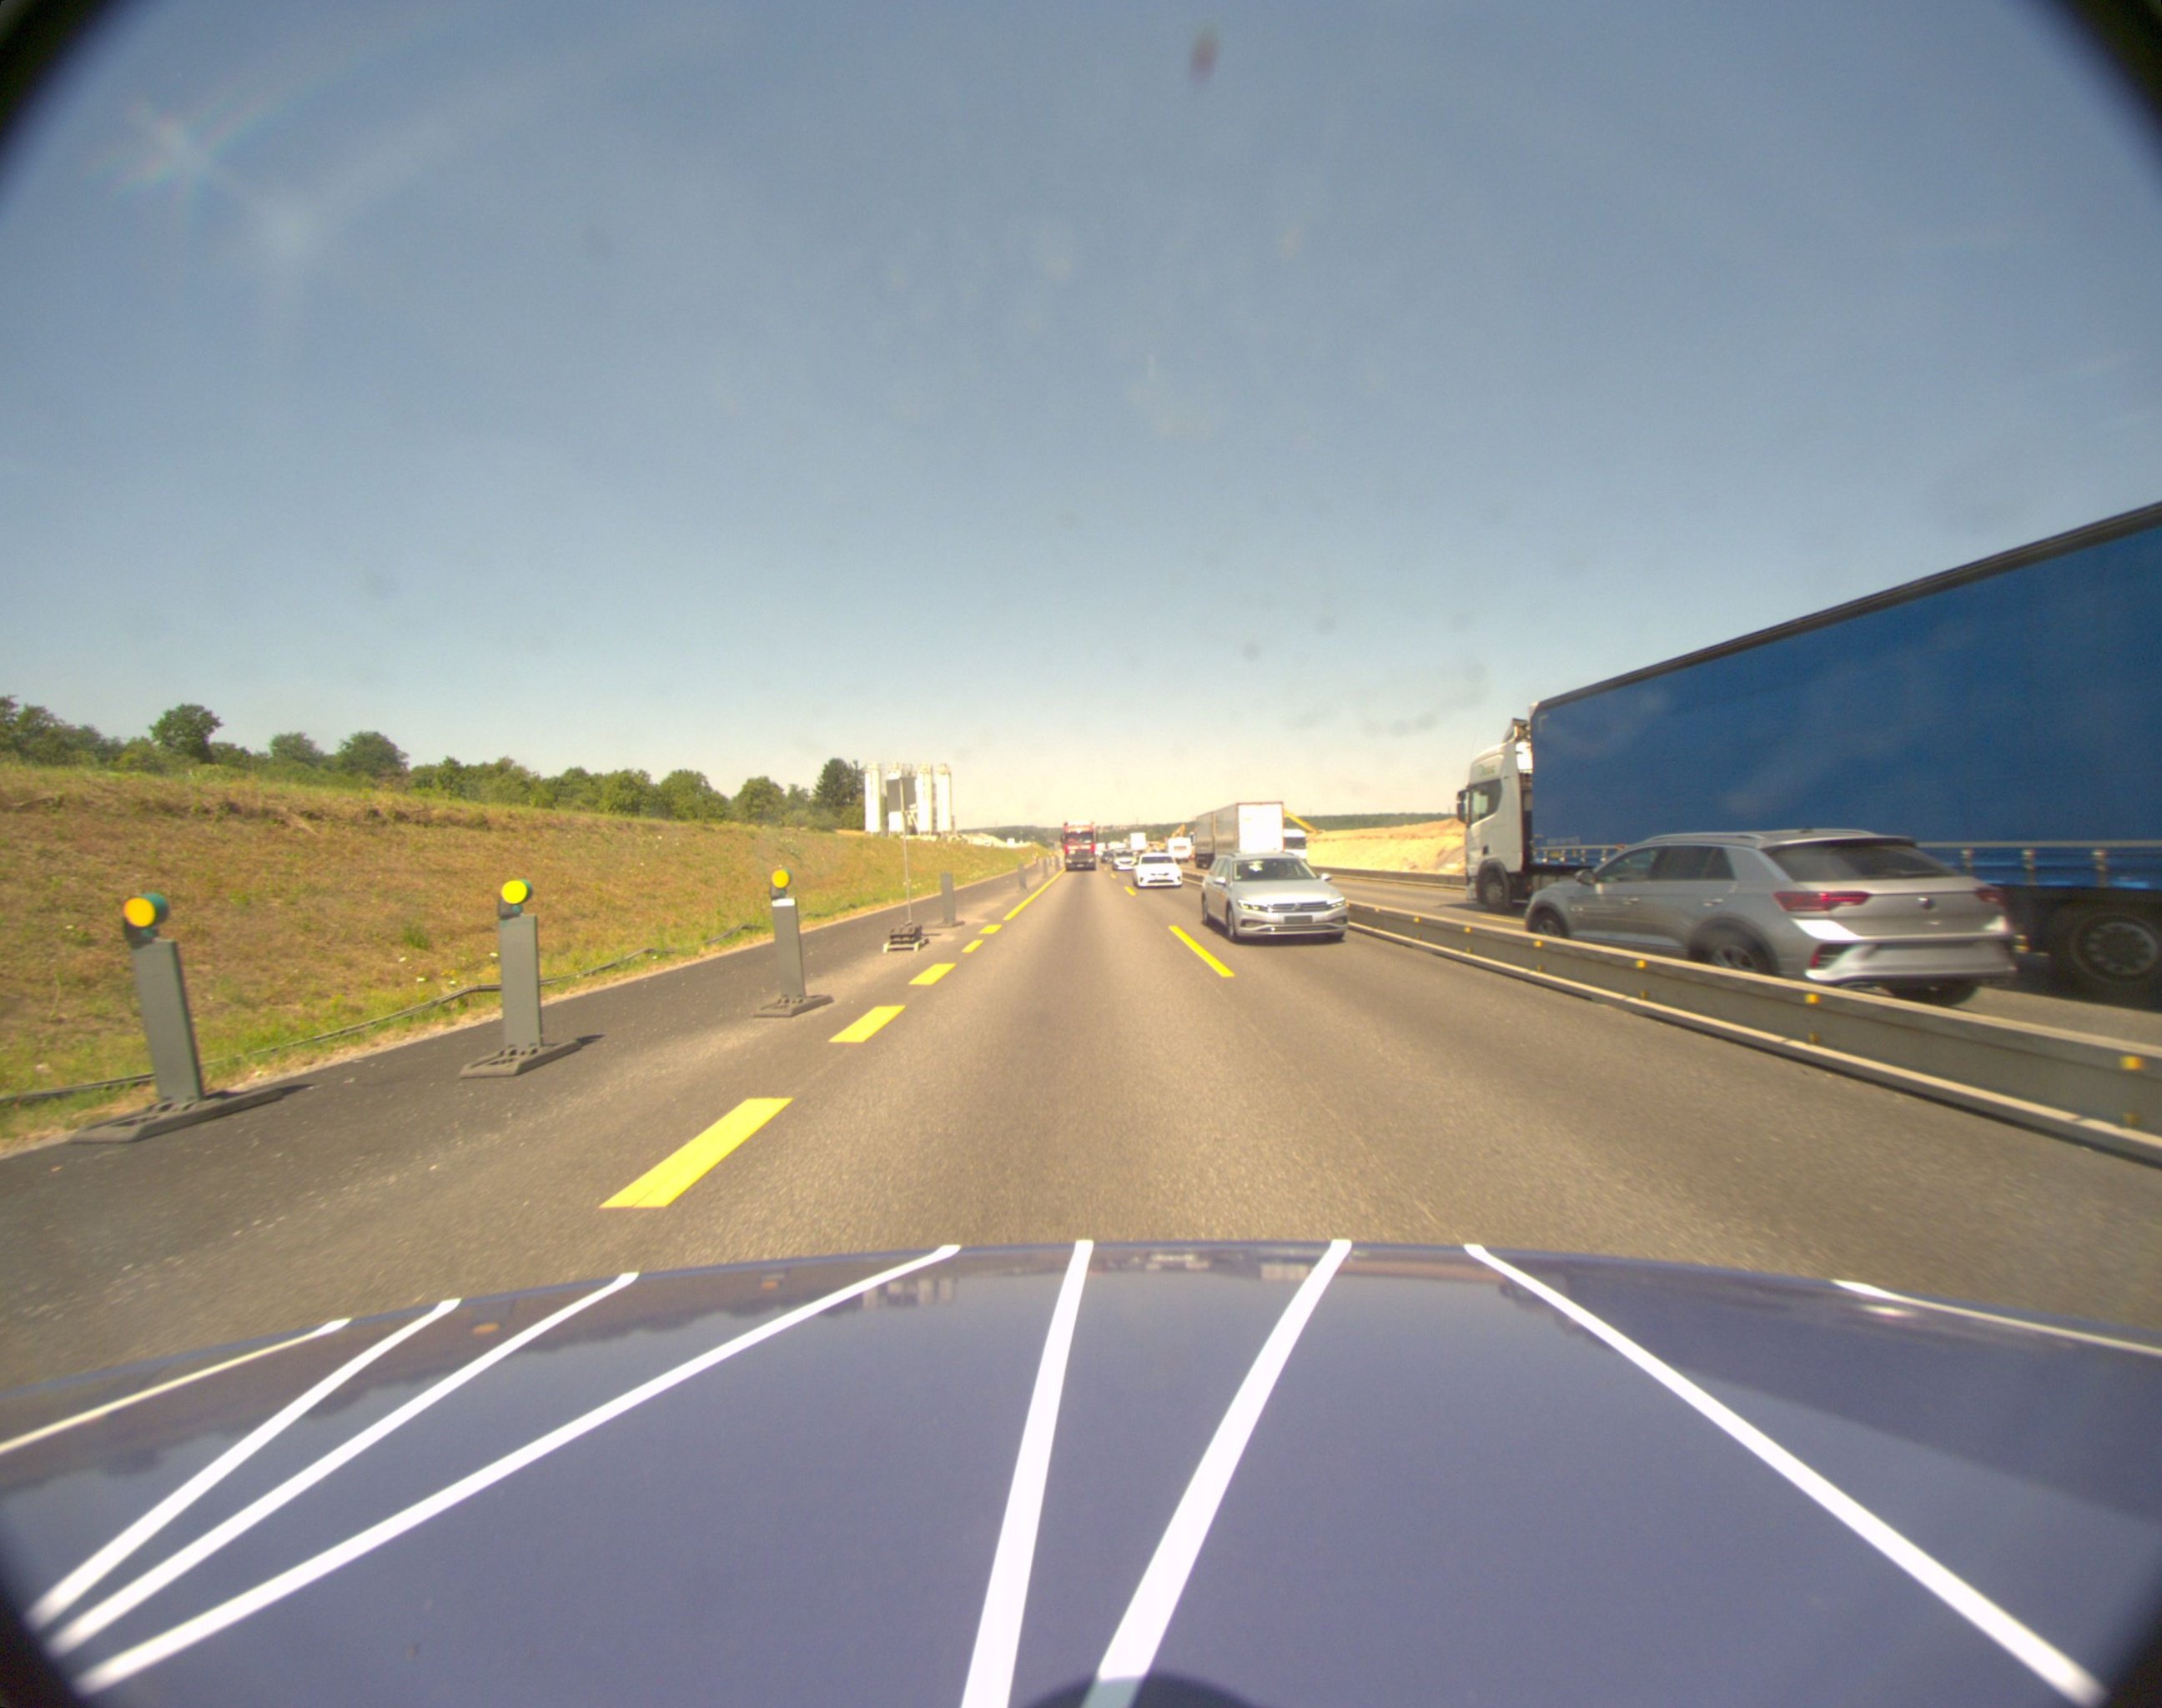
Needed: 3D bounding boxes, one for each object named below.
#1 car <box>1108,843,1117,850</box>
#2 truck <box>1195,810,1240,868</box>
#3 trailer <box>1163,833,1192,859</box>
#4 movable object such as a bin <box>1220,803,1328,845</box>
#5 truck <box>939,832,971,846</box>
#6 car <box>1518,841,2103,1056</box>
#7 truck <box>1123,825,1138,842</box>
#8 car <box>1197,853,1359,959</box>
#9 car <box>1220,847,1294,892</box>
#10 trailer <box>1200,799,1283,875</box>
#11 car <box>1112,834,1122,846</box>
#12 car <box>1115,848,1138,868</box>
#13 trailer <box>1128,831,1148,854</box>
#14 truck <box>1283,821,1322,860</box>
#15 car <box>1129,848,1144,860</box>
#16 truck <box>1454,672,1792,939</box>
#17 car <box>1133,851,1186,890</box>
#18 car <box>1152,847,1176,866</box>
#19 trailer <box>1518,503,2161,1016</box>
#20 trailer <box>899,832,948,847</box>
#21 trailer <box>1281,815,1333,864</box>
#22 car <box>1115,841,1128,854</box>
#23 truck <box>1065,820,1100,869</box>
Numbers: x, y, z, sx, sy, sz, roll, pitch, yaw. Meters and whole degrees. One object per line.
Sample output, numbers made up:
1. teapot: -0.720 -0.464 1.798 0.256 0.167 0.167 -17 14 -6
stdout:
1. car: 7.703 -1.832 186.817 1.863 1.434 4.498 -2 1 -4
2. truck: 10.240 -1.092 57.319 2.497 4.174 5.911 0 1 2
3. trailer: 10.448 -0.855 82.757 2.317 2.671 6.755 0 1 0
4. movable object such as a bin: 34.635 -5.383 136.764 18.266 6.734 3.387 -2 2 1
5. truck: -24.438 -2.934 147.653 5.317 2.530 2.897 -3 2 -36
6. car: 6.414 0.668 7.511 1.780 1.546 4.139 0 0 0
7. truck: 11.124 -4.671 171.579 2.651 3.695 9.480 -2 1 1
8. car: 3.281 0.782 13.494 1.804 1.499 4.100 -2 0 0
9. car: 6.653 0.524 29.169 1.812 1.480 4.242 -2 1 0
10. trailer: 10.099 -1.027 49.813 2.508 4.155 15.532 0 1 1
11. car: 11.923 -4.555 251.080 2.915 3.719 8.090 -2 0 1
12. car: 3.531 0.267 59.595 1.601 1.390 3.695 -2 1 1
13. trailer: 10.686 -2.150 143.766 2.861 4.070 13.649 -1 1 1
14. truck: 18.081 -1.120 62.338 2.583 2.947 5.065 -2 1 12
15. car: 7.887 -0.047 108.193 1.693 1.493 3.975 -2 1 0
16. truck: 9.690 -0.760 14.363 2.598 4.030 5.149 -2 1 0
17. car: 3.234 0.649 32.047 1.875 1.390 4.029 -2 1 1
18. car: 7.483 0.189 68.986 1.693 1.604 4.592 -2 1 0
19. trailer: 9.620 -0.771 7.460 2.660 3.915 13.994 -2 1 1
20. trailer: -30.246 -2.792 145.906 8.919 2.592 2.463 -1 1 -3
21. trailer: 20.061 -1.346 67.165 2.793 4.075 8.382 -2 2 27
22. car: 7.571 -1.256 142.686 1.998 2.279 5.342 -2 1 0
23. truck: 0.239 -0.863 64.741 2.537 3.799 9.480 -2 1 2
